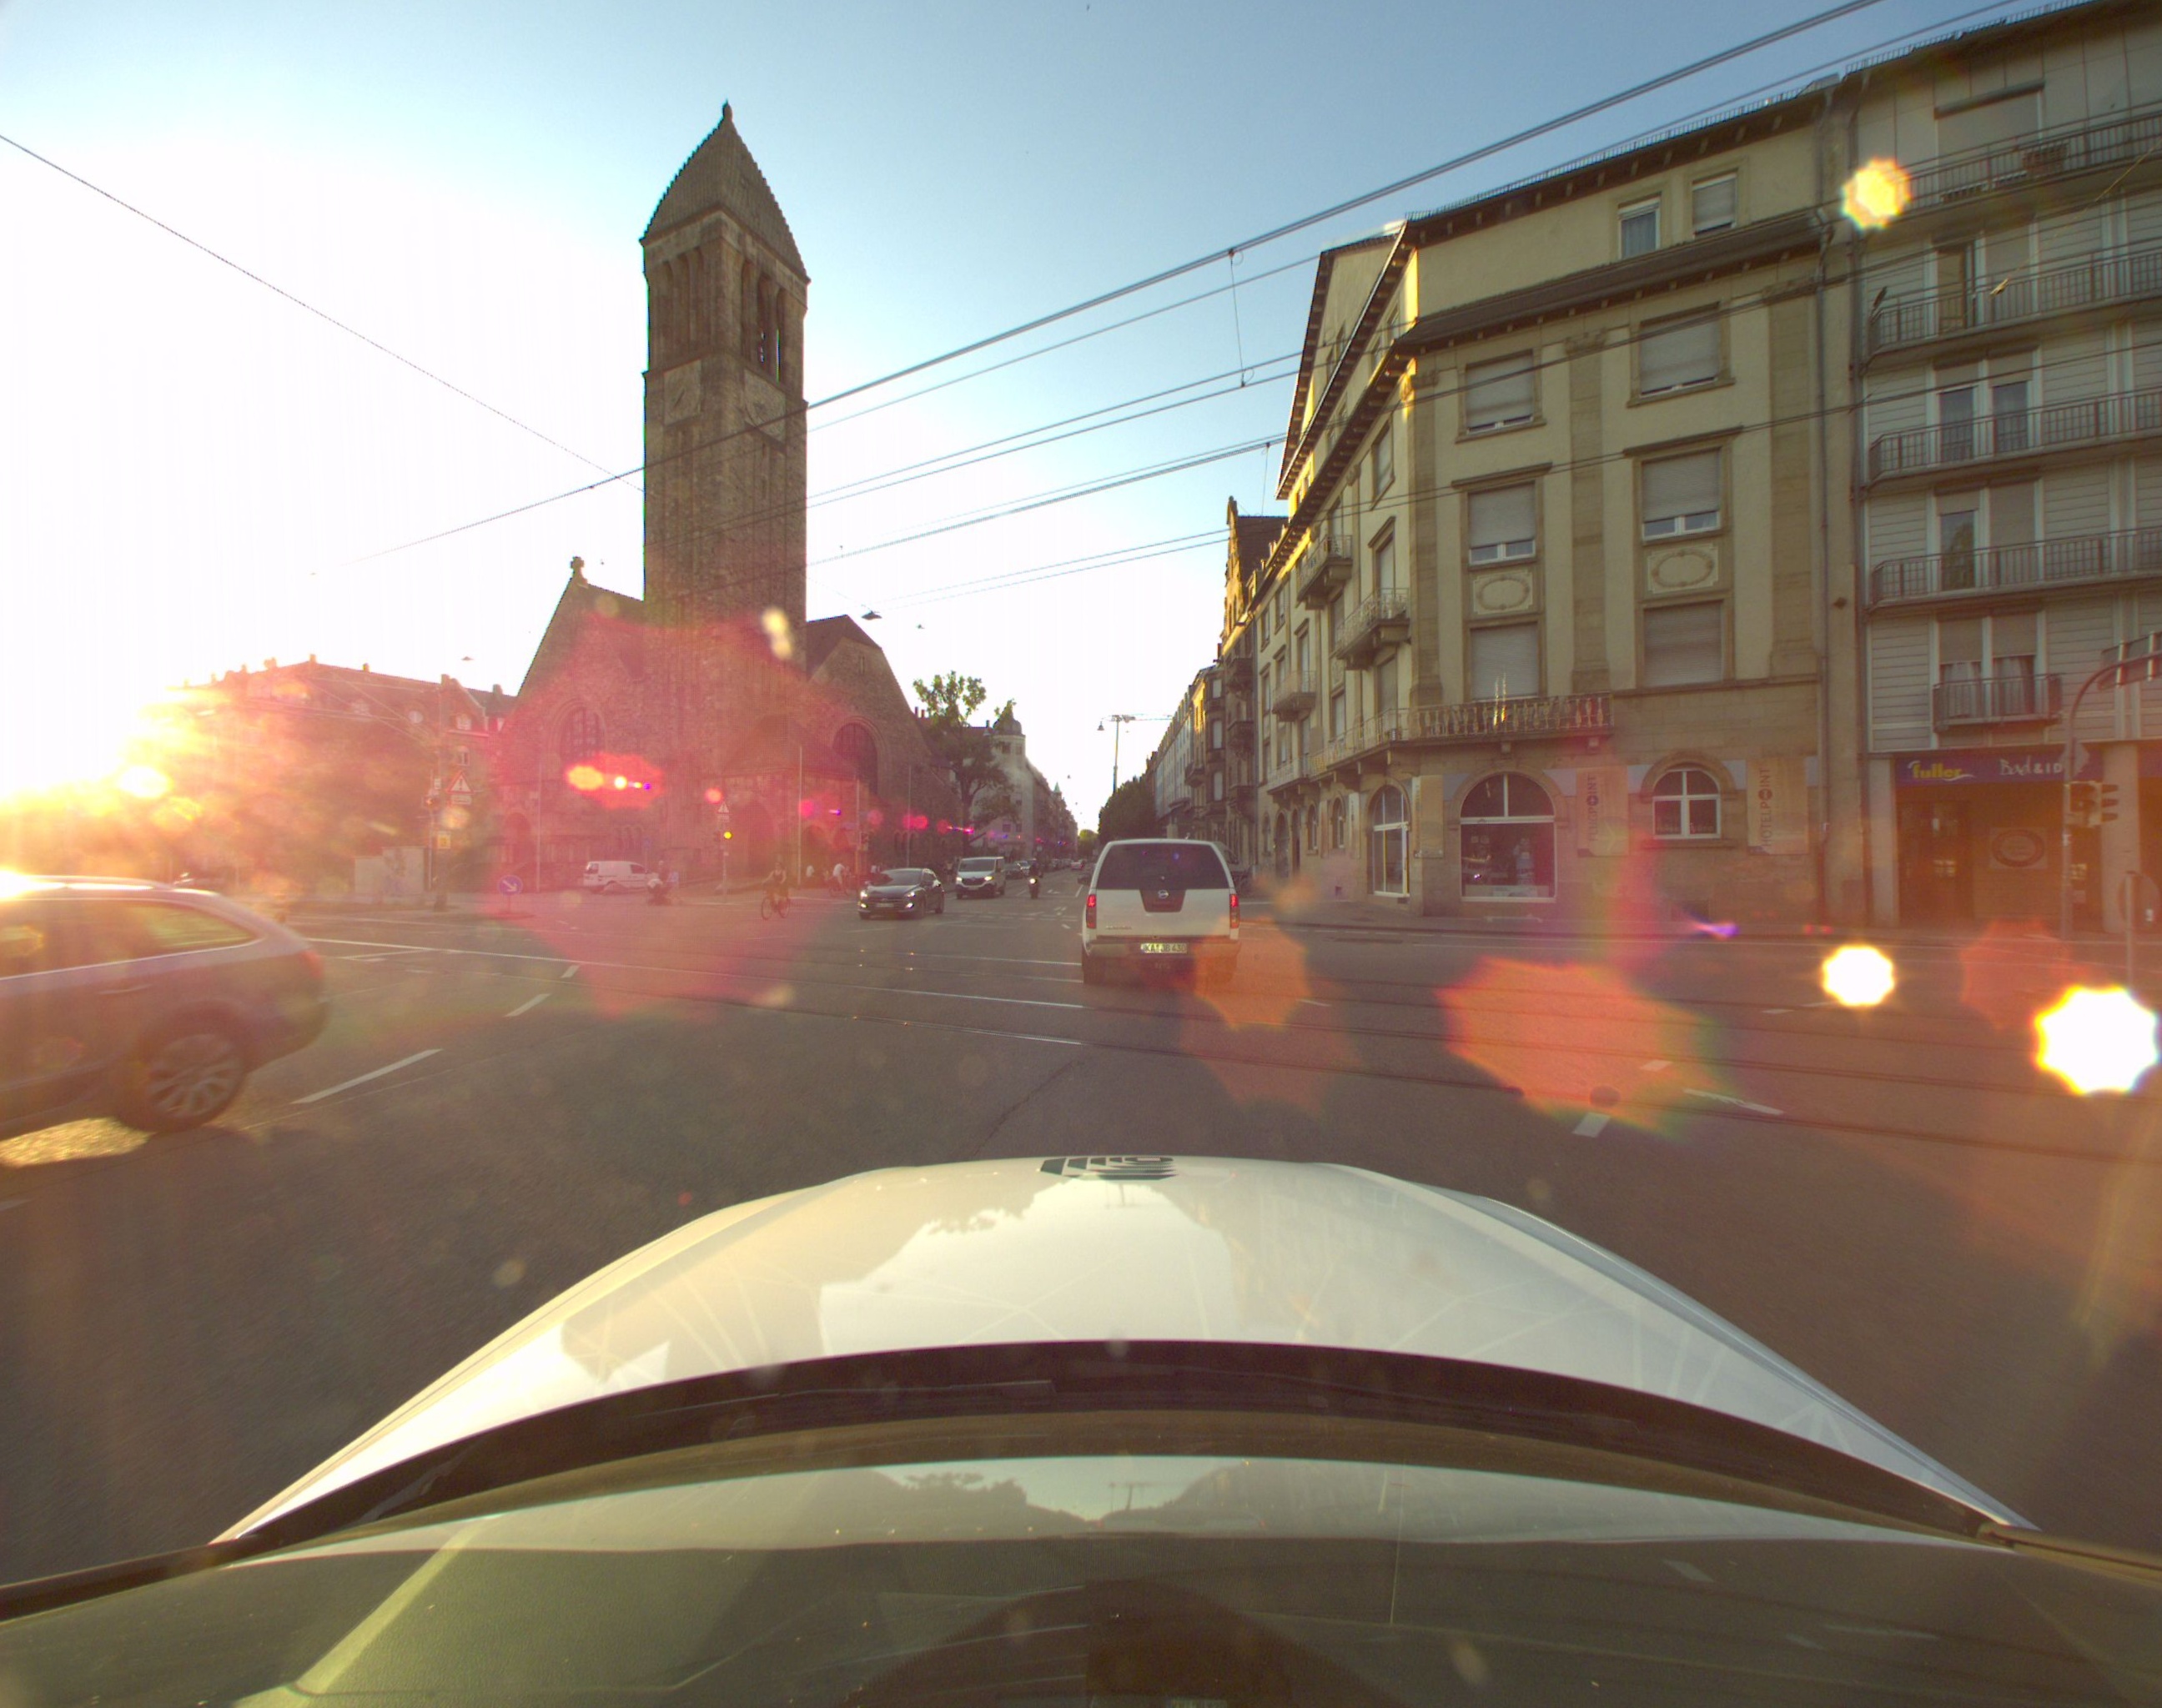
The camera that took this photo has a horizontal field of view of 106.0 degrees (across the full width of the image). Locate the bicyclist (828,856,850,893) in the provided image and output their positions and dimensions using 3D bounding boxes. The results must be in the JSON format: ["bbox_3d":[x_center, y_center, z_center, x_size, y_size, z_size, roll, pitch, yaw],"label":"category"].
[{"bbox_3d":[-11.925,0.996,40.162,0.651,1.827,0.863,0,-1,18],"label":"bicyclist"}]

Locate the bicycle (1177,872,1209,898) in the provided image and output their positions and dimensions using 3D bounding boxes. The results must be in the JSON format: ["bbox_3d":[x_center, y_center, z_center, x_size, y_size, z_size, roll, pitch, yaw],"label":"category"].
[{"bbox_3d":[4.904,1.362,35.644,1.328,1.024,0.317,-4,-1,0],"label":"bicycle"}]

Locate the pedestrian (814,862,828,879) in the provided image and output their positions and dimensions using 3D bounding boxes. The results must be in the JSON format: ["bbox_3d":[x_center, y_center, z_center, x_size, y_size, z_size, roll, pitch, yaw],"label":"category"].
[{"bbox_3d":[-14.788,0.963,46.338,0.517,0.960,0.482,0,-1,22],"label":"pedestrian"}]

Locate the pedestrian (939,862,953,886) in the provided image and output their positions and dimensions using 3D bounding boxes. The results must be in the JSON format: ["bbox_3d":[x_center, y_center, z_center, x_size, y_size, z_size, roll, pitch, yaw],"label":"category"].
[{"bbox_3d":[-9.415,1.401,56.914,0.809,1.669,0.859,1,-1,0],"label":"pedestrian"}]

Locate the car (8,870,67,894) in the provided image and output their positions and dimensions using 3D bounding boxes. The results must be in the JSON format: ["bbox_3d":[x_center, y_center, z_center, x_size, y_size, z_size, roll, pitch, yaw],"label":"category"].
[{"bbox_3d":[-88.803,2.350,69.330,3.952,2.014,2.010,0,-1,22],"label":"car"}]

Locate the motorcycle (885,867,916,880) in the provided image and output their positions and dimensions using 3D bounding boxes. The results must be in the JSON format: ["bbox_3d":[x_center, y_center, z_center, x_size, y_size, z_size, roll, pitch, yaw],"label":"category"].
[{"bbox_3d":[-14.051,1.509,63.326,2.239,0.988,0.707,1,-1,-3],"label":"motorcycle"}]

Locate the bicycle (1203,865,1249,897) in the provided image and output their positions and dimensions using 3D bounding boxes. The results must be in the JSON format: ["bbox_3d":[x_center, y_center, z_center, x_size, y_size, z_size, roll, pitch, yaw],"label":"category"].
[{"bbox_3d":[6.161,1.163,34.640,1.811,1.238,0.478,-4,-1,0],"label":"bicycle"}]

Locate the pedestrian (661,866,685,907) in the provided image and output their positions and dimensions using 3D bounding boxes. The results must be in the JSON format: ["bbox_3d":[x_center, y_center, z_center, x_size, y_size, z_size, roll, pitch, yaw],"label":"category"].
[{"bbox_3d":[-17.338,1.368,34.616,0.629,1.698,0.605,0,-1,13],"label":"pedestrian"}]

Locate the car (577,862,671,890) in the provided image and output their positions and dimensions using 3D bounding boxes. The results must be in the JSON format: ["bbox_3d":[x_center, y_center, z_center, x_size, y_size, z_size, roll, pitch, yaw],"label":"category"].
[{"bbox_3d":[-26.079,1.218,46.661,1.698,1.517,4.482,0,-1,27],"label":"car"}]

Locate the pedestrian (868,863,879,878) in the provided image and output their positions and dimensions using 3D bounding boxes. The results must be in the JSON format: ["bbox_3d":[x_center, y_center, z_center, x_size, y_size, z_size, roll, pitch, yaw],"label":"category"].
[{"bbox_3d":[-13.246,1.056,51.992,0.517,0.960,0.482,0,-1,20],"label":"pedestrian"}]

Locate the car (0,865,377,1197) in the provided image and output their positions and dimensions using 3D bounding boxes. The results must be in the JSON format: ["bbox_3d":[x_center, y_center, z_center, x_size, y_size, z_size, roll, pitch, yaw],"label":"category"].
[{"bbox_3d":[-6.155,0.876,3.536,1.987,1.558,4.768,-2,0,0],"label":"car"}]

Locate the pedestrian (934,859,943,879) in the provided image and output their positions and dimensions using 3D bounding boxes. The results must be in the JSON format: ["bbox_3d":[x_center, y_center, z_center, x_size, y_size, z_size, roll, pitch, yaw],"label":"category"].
[{"bbox_3d":[-12.096,1.262,69.088,0.642,1.695,0.561,1,-1,-6],"label":"pedestrian"}]

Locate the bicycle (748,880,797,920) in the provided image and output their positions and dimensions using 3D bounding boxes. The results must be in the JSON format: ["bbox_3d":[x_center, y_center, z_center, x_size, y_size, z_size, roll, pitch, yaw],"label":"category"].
[{"bbox_3d":[-8.770,1.293,23.249,0.597,1.043,1.946,1,-1,2],"label":"bicycle"}]

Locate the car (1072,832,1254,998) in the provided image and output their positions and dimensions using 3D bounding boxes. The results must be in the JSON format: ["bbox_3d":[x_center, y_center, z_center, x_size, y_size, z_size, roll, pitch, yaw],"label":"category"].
[{"bbox_3d":[1.004,0.699,11.018,1.985,1.809,4.002,1,-1,3],"label":"car"}]

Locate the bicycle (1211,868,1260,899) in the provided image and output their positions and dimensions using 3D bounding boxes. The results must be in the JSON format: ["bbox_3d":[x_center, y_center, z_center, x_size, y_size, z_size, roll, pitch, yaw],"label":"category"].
[{"bbox_3d":[6.243,1.180,32.982,1.811,1.150,0.636,-4,-1,0],"label":"bicycle"}]

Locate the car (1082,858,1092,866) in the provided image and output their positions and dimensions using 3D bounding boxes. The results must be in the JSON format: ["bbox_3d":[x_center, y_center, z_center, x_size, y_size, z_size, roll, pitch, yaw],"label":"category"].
[{"bbox_3d":[1.179,1.571,158.015,1.915,1.529,3.999,1,-1,0],"label":"car"}]

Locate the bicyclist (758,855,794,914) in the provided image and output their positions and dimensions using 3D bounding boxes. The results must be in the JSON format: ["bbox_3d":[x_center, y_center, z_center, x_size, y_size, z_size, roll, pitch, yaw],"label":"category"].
[{"bbox_3d":[-8.695,0.846,23.232,0.597,1.645,0.963,1,-1,1],"label":"bicyclist"}]

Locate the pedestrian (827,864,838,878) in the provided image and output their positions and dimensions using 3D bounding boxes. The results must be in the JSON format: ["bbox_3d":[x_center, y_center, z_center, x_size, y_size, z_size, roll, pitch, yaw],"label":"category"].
[{"bbox_3d":[-17.290,1.183,56.676,0.550,0.960,0.708,1,-1,-4],"label":"pedestrian"}]

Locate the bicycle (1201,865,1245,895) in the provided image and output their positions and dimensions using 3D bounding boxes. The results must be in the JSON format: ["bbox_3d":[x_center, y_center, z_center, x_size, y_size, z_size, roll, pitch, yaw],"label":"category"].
[{"bbox_3d":[6.255,1.148,35.969,1.811,1.238,0.410,-4,-1,0],"label":"bicycle"}]

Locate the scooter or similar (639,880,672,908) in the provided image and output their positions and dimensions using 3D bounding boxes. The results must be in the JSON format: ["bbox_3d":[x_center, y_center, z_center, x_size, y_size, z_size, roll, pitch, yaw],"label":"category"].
[{"bbox_3d":[-17.633,1.644,33.755,0.629,1.103,1.082,0,-1,14],"label":"scooter or similar"}]

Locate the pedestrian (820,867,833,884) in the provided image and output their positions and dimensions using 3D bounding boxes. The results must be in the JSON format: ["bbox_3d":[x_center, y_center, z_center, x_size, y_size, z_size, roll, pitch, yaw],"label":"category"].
[{"bbox_3d":[-14.858,1.254,47.509,0.473,0.960,0.526,0,-1,32],"label":"pedestrian"}]

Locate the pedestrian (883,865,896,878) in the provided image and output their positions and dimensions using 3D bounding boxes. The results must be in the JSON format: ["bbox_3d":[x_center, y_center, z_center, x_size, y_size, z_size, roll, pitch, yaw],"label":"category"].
[{"bbox_3d":[-14.212,1.263,60.418,0.547,0.960,0.713,0,-1,23],"label":"pedestrian"}]

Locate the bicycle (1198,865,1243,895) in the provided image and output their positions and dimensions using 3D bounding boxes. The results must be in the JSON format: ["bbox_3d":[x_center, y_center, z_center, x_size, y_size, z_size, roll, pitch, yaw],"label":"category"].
[{"bbox_3d":[6.238,1.158,36.502,1.849,1.238,0.531,-4,-1,0],"label":"bicycle"}]

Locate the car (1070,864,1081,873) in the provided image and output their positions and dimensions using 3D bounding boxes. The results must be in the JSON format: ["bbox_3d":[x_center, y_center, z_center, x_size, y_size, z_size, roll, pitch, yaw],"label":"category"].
[{"bbox_3d":[-0.923,2.376,135.804,1.853,1.529,3.998,1,-1,-1],"label":"car"}]

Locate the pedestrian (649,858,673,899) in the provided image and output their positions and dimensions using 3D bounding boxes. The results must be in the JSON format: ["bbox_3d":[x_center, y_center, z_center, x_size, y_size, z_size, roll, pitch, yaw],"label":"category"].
[{"bbox_3d":[-17.968,1.041,34.842,0.628,1.698,0.605,0,-1,17],"label":"pedestrian"}]

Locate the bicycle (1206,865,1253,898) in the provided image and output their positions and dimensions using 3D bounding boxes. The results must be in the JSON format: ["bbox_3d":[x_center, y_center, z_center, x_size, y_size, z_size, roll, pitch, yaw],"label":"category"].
[{"bbox_3d":[6.165,1.148,33.927,1.811,1.238,0.488,-4,-1,0],"label":"bicycle"}]

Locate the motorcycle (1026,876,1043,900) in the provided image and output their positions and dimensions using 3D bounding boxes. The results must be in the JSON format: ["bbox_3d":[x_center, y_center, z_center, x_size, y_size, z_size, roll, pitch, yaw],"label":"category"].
[{"bbox_3d":[-2.148,1.540,37.475,0.597,1.043,1.946,1,-1,2],"label":"motorcycle"}]

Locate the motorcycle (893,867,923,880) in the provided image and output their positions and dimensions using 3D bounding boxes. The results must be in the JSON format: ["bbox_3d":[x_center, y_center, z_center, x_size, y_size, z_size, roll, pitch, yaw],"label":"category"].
[{"bbox_3d":[-13.857,1.539,65.349,2.239,0.988,0.707,1,-1,-3],"label":"motorcycle"}]

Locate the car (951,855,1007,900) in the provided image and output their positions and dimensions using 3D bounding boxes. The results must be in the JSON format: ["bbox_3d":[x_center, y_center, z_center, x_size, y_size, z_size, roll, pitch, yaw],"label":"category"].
[{"bbox_3d":[-4.927,1.119,40.138,1.986,2.014,4.951,-1,-1,1],"label":"car"}]

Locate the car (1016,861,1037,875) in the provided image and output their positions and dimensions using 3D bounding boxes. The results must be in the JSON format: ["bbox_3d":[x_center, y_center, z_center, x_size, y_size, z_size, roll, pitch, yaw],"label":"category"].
[{"bbox_3d":[-5.942,1.562,89.700,1.851,1.529,4.002,1,-1,2],"label":"car"}]

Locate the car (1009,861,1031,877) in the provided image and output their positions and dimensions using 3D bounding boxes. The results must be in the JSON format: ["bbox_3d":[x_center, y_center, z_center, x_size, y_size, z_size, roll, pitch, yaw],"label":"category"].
[{"bbox_3d":[-6.185,1.539,83.118,1.851,1.529,4.002,1,-1,2],"label":"car"}]

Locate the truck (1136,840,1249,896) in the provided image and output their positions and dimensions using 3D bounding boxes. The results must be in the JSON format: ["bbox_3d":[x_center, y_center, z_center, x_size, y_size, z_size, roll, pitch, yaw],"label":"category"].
[{"bbox_3d":[5.481,0.664,39.590,5.703,2.565,2.261,1,-1,-41],"label":"truck"}]

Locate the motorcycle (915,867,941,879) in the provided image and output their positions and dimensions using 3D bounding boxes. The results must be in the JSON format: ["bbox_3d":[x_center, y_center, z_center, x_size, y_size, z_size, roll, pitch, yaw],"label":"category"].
[{"bbox_3d":[-12.726,1.580,67.594,2.146,0.988,0.597,0,-1,22],"label":"motorcycle"}]

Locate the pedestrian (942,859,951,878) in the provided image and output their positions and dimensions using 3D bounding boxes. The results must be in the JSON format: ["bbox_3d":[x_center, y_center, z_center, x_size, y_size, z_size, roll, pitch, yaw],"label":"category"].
[{"bbox_3d":[-11.765,1.256,71.380,0.640,1.695,0.562,1,-1,2],"label":"pedestrian"}]

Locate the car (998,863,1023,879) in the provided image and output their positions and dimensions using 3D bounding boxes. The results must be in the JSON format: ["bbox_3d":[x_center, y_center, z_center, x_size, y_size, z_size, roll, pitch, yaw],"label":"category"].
[{"bbox_3d":[-6.460,1.572,74.921,1.851,1.398,4.002,1,-1,2],"label":"car"}]

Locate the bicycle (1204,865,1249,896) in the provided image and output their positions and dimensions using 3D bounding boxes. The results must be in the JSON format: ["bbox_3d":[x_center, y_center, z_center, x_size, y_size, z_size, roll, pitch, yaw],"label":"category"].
[{"bbox_3d":[6.297,1.140,35.361,1.811,1.238,0.412,-4,-1,0],"label":"bicycle"}]

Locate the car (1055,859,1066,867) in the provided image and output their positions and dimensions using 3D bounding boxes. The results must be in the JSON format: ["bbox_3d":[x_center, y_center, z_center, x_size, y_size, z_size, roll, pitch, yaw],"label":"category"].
[{"bbox_3d":[-3.888,1.767,155.840,1.851,1.529,4.002,1,-1,2],"label":"car"}]

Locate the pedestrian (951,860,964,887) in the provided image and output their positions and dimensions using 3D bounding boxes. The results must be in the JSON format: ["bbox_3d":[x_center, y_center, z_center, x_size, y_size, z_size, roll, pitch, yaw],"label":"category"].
[{"bbox_3d":[-8.634,1.342,56.966,0.809,1.901,0.666,1,-1,0],"label":"pedestrian"}]

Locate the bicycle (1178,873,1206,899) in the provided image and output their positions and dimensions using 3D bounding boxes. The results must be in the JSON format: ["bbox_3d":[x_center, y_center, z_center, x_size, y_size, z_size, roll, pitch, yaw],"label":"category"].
[{"bbox_3d":[4.699,1.357,34.392,1.073,1.024,0.317,-4,-1,0],"label":"bicycle"}]

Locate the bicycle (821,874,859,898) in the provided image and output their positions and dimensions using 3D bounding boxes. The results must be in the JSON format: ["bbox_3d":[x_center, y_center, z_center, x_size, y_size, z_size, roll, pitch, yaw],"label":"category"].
[{"bbox_3d":[-11.889,1.552,40.232,0.651,1.078,2.255,0,0,18],"label":"bicycle"}]

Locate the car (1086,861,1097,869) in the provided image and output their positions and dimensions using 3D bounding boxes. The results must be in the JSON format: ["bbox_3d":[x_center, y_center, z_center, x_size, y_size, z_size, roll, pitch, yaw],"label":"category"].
[{"bbox_3d":[1.882,1.973,147.655,1.851,1.529,4.002,1,-1,2],"label":"car"}]

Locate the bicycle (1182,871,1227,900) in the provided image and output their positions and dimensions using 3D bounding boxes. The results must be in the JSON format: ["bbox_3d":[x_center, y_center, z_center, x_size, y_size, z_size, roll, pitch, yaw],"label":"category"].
[{"bbox_3d":[5.078,1.303,33.493,1.721,1.083,0.317,-4,-1,0],"label":"bicycle"}]

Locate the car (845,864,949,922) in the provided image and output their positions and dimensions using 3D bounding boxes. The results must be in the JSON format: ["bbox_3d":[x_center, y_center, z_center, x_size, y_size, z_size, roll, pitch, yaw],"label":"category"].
[{"bbox_3d":[-5.270,1.078,23.930,1.986,1.477,4.141,-1,0,2],"label":"car"}]

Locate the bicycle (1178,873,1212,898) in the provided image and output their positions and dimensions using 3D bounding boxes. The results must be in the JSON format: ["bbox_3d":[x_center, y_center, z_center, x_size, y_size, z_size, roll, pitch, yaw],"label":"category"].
[{"bbox_3d":[4.926,1.353,35.096,1.367,1.024,0.317,-4,-1,0],"label":"bicycle"}]

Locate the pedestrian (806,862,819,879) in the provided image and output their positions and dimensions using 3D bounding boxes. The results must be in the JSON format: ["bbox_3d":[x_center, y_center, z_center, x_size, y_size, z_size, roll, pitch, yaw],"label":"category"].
[{"bbox_3d":[-15.394,0.962,46.638,0.517,0.960,0.482,0,-1,22],"label":"pedestrian"}]

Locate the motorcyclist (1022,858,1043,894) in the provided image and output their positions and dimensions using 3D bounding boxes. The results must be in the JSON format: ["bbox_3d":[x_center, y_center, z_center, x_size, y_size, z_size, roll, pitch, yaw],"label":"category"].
[{"bbox_3d":[-2.222,1.012,37.607,0.871,1.645,0.963,1,-1,1],"label":"motorcyclist"}]

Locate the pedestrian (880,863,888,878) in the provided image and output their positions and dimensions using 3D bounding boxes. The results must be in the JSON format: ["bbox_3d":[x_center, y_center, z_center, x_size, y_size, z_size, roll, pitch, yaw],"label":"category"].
[{"bbox_3d":[-12.520,1.060,51.766,0.522,0.960,0.477,1,-1,-13],"label":"pedestrian"}]
